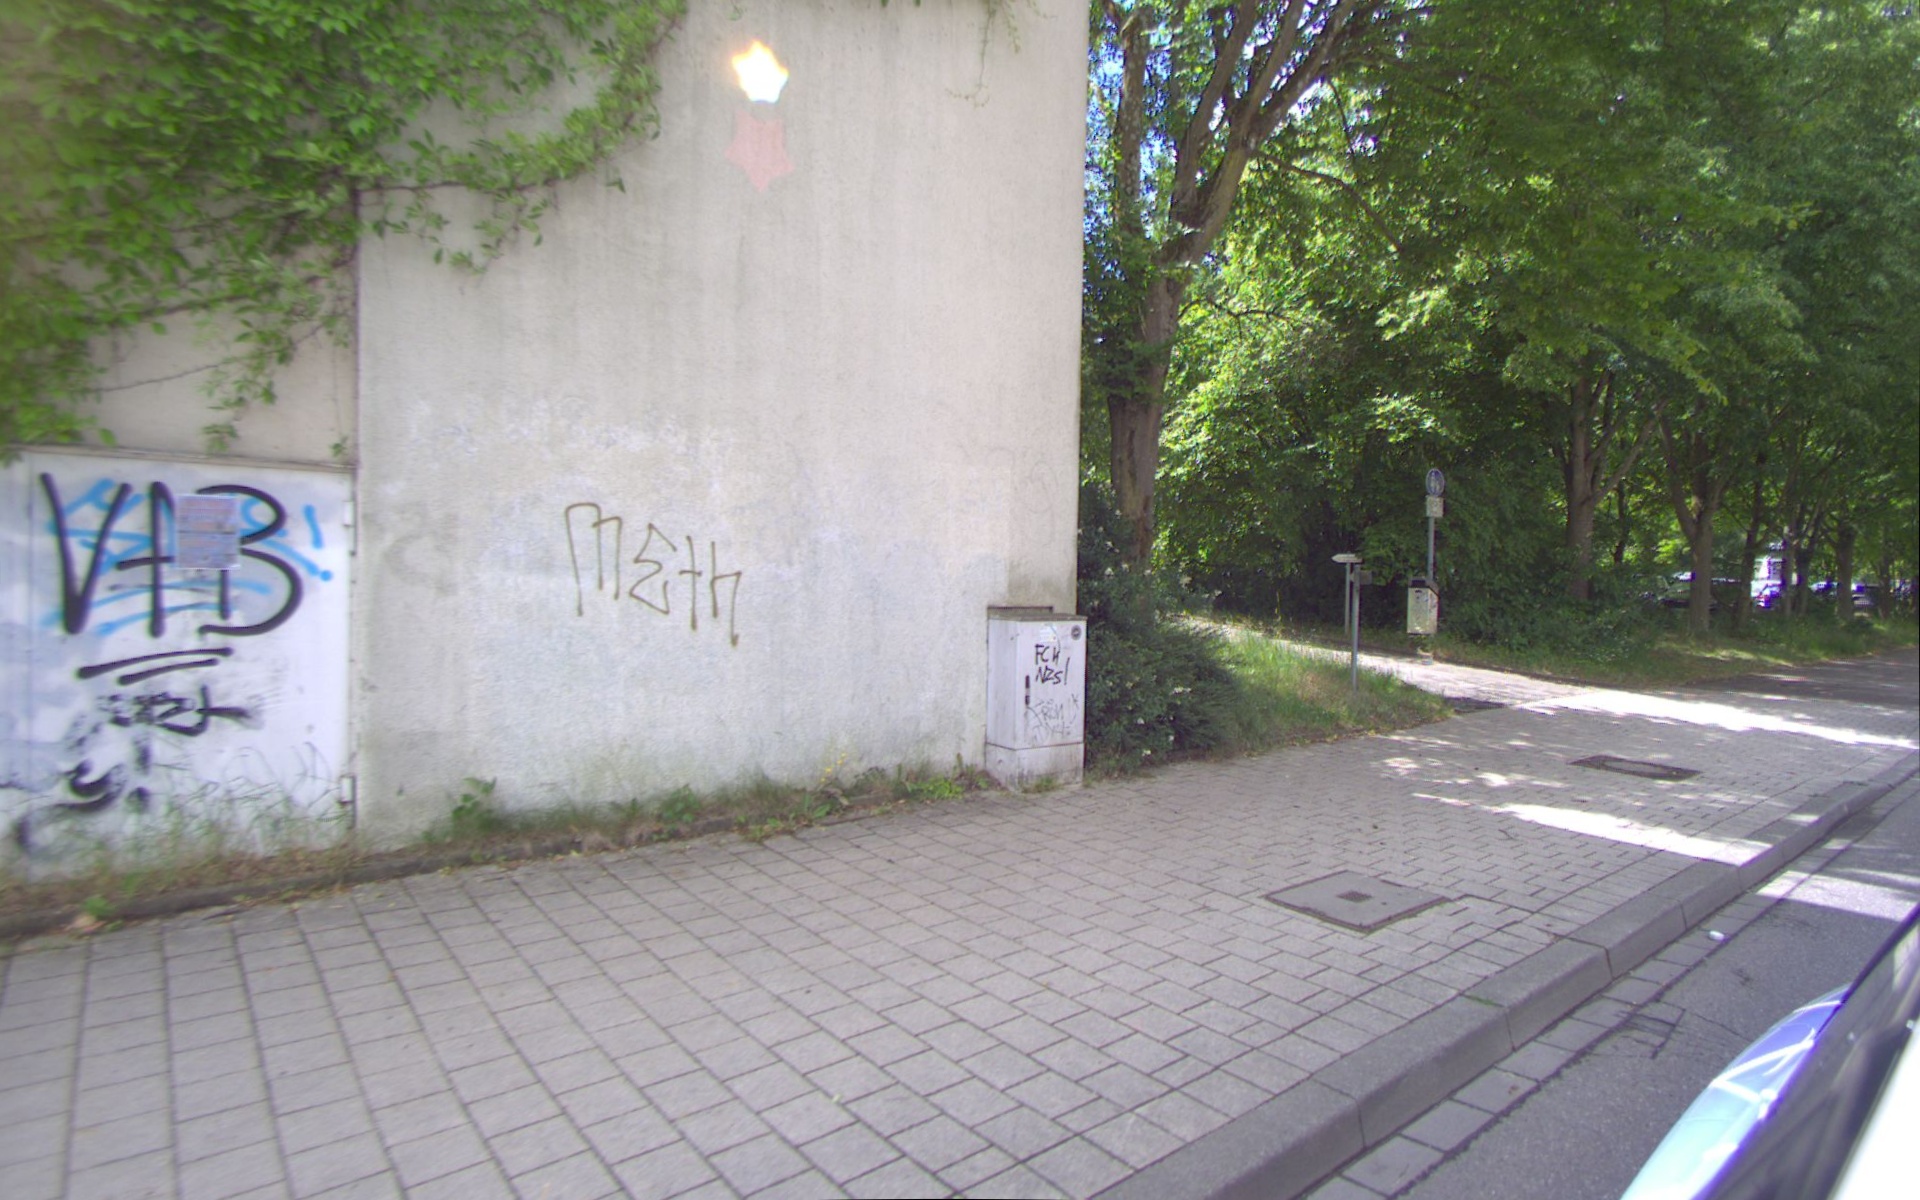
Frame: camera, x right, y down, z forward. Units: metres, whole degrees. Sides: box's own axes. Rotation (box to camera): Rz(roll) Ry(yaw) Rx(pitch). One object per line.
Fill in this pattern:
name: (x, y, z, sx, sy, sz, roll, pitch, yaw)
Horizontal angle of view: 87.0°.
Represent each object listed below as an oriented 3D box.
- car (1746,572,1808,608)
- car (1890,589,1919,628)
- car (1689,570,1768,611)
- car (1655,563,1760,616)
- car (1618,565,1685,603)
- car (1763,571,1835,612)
car: (37.701, -0.466, 46.663, 3.563, 1.561, 1.655, 0, 1, -41)
car: (39.994, 0.342, 41.751, 3.606, 1.561, 1.658, 0, 1, -34)
car: (31.744, -0.412, 41.776, 3.609, 1.560, 1.657, 0, 4, -38)
car: (23.532, -0.345, 31.828, 3.609, 1.561, 1.756, 0, 1, -38)
car: (29.366, -0.676, 42.959, 3.615, 1.561, 1.653, -1, 1, -44)
car: (33.076, -0.350, 39.867, 4.156, 1.561, 1.753, -1, 1, -44)
